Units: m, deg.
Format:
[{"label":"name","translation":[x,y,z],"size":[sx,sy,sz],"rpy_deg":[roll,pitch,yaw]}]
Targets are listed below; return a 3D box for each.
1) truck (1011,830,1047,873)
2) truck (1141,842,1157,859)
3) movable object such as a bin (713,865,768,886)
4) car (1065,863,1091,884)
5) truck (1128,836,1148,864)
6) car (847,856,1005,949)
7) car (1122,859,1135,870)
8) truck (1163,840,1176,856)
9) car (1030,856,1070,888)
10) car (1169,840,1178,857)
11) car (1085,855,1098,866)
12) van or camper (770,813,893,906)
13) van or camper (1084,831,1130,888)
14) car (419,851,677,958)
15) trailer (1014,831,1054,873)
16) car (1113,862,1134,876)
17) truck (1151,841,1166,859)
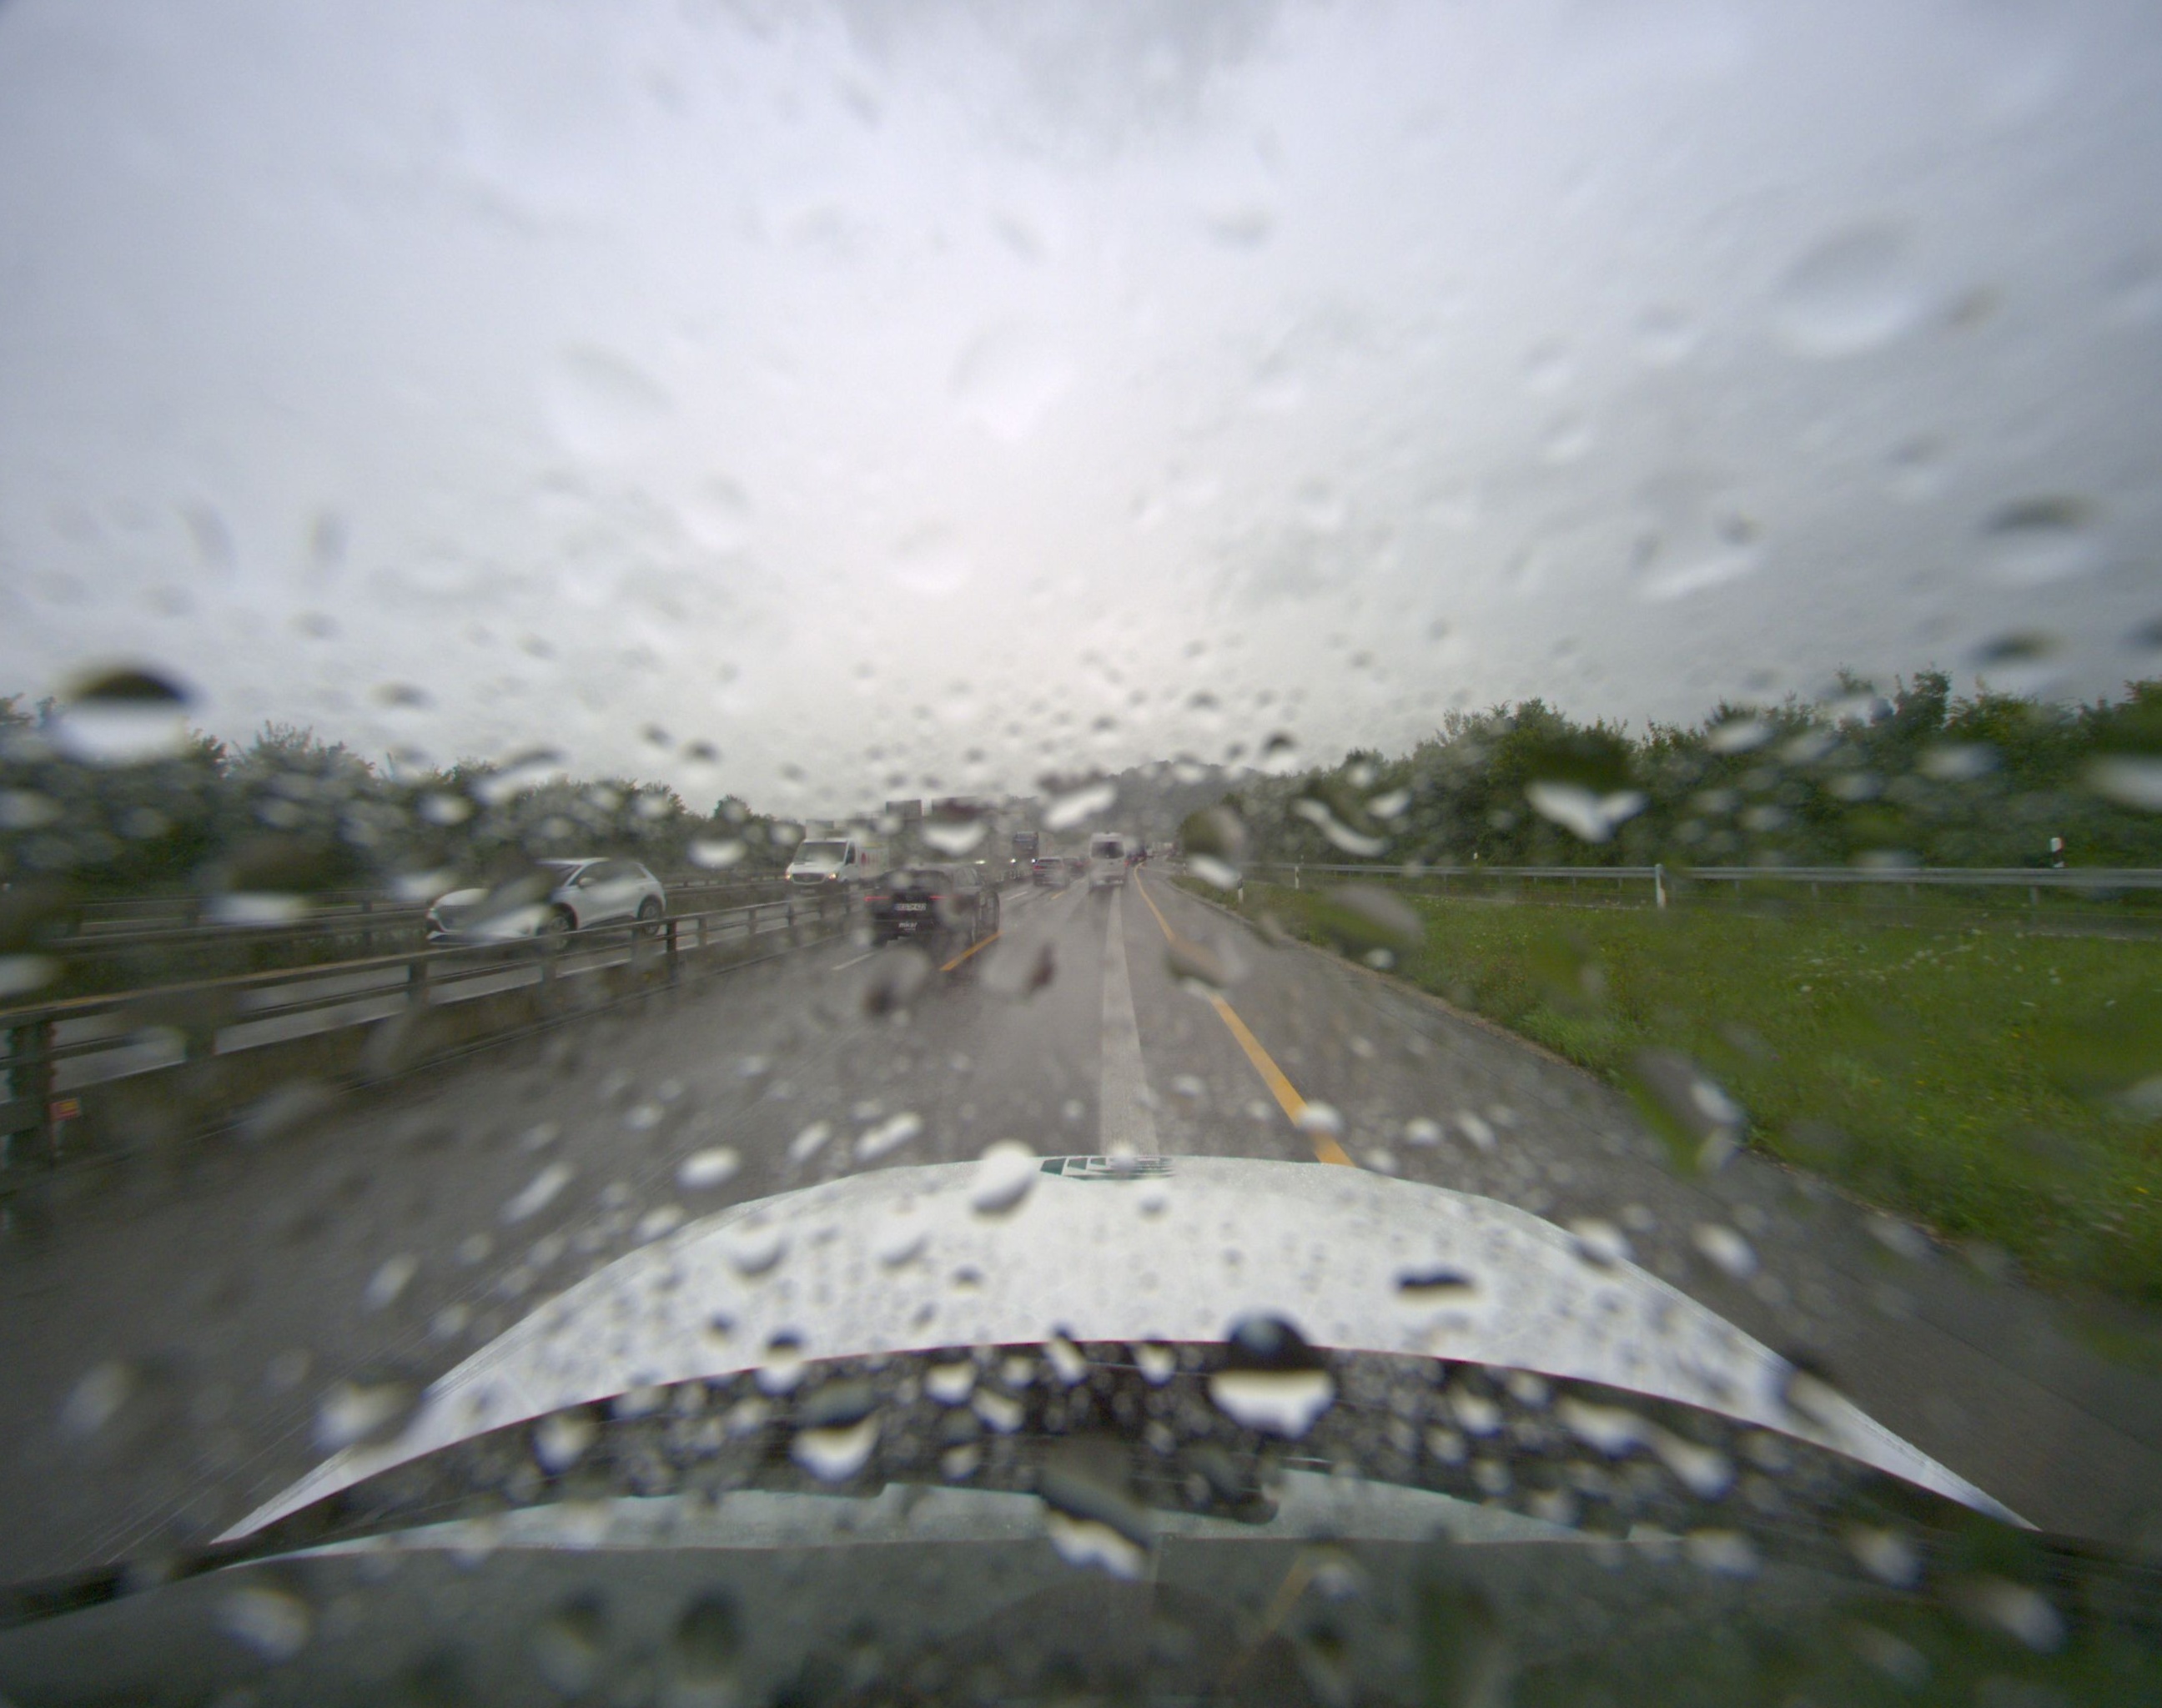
[{"label":"truck","translation":[-5.416,-0.238,85.361],"size":[2.876,4.232,6.331],"rpy_deg":[-2,-1,3]},{"label":"truck","translation":[15.356,-0.753,184.745],"size":[3.307,3.762,9.914],"rpy_deg":[0,-1,3]},{"label":"movable object such as a bin","translation":[-24.630,1.533,59.024],"size":[2.117,1.425,4.003],"rpy_deg":[0,-1,3]},{"label":"car","translation":[-0.185,1.440,62.155],"size":[1.845,1.500,4.001],"rpy_deg":[-1,0,1]},{"label":"truck","translation":[10.041,-0.617,144.858],"size":[3.307,4.785,9.914],"rpy_deg":[0,-1,3]},{"label":"car","translation":[-2.639,0.772,15.052],"size":[1.932,1.427,4.760],"rpy_deg":[0,0,1]},{"label":"car","translation":[5.750,1.218,98.534],"size":[1.380,1.256,3.121],"rpy_deg":[-1,0,-1]},{"label":"truck","translation":[28.698,-1.921,262.387],"size":[3.907,4.785,9.927],"rpy_deg":[0,-1,7]},{"label":"car","translation":[-1.648,0.951,44.151],"size":[1.860,1.659,3.989],"rpy_deg":[-1,0,2]},{"label":"car","translation":[23.044,-1.366,203.097],"size":[2.048,4.192,6.755],"rpy_deg":[-1,0,5]},{"label":"car","translation":[1.101,0.651,85.286],"size":[1.258,1.078,3.255],"rpy_deg":[-1,0,2]},{"label":"van or camper","translation":[-8.949,0.227,30.058],"size":[2.285,3.041,6.701],"rpy_deg":[0,-1,2]},{"label":"van or camper","translation":[1.318,0.280,41.180],"size":[2.131,2.721,4.649],"rpy_deg":[-1,0,1]},{"label":"car","translation":[-9.474,0.814,15.033],"size":[1.630,1.668,4.545],"rpy_deg":[0,-1,2]},{"label":"trailer","translation":[-5.124,-0.103,91.434],"size":[2.881,4.286,12.903],"rpy_deg":[-2,-1,3]},{"label":"car","translation":[3.449,1.219,66.533],"size":[1.381,1.078,3.118],"rpy_deg":[-1,0,-3]},{"label":"truck","translation":[21.286,-1.067,223.383],"size":[3.907,4.785,9.927],"rpy_deg":[0,-1,7]}]
